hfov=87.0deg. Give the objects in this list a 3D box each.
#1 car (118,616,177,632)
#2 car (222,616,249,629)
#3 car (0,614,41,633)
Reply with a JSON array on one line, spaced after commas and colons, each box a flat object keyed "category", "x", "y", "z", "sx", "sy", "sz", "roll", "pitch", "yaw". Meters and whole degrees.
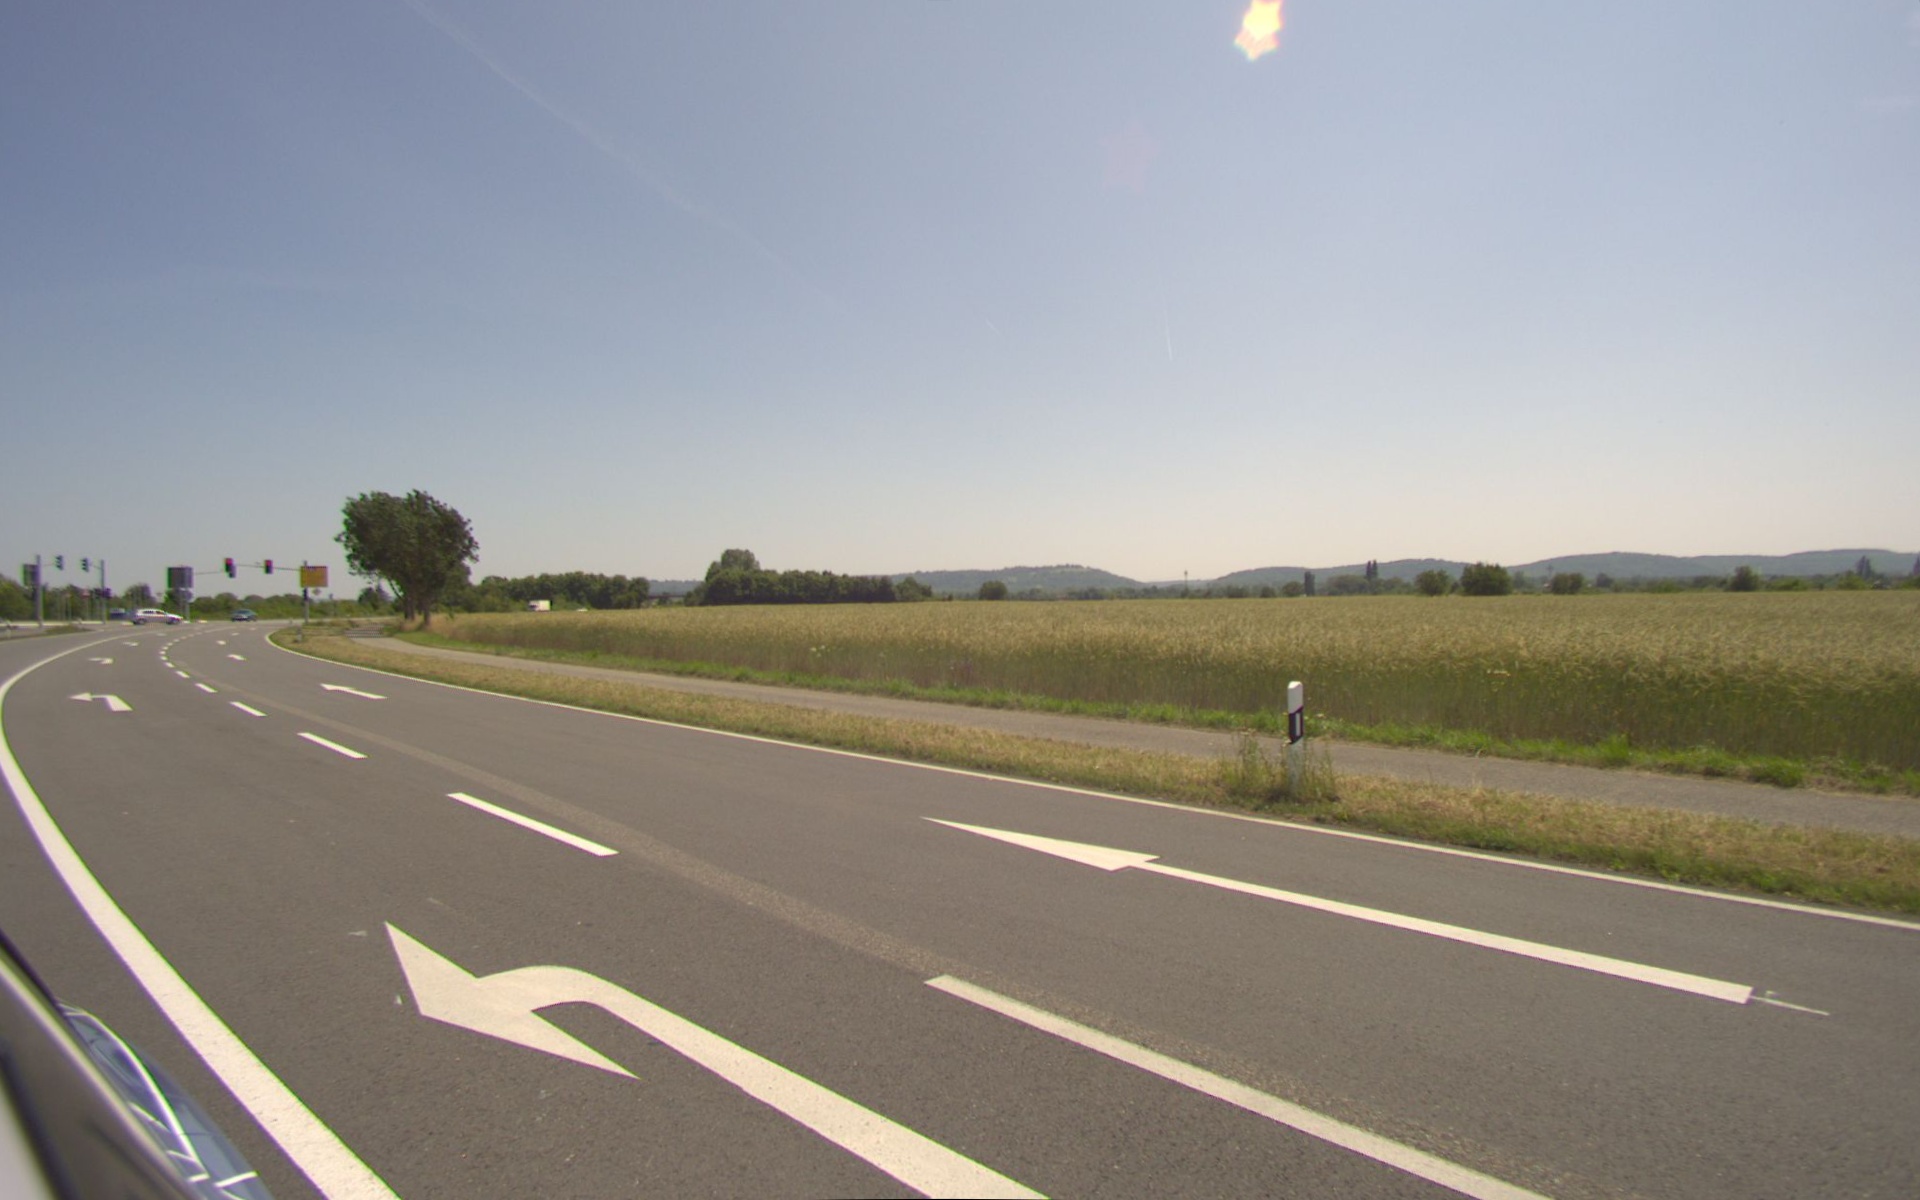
[{"category": "car", "x": -77.215, "y": 2.278, "z": 96.229, "sx": 1.658, "sy": 1.471, "sz": 4.102, "roll": -1, "pitch": 0, "yaw": 36}, {"category": "car", "x": -85.942, "y": 2.659, "z": 120.109, "sx": 1.629, "sy": 1.578, "sz": 4.013, "roll": 0, "pitch": -1, "yaw": -21}, {"category": "car", "x": -84.873, "y": 2.114, "z": 89.941, "sx": 4.449, "sy": 1.653, "sz": 1.820, "roll": 0, "pitch": 0, "yaw": -29}]
